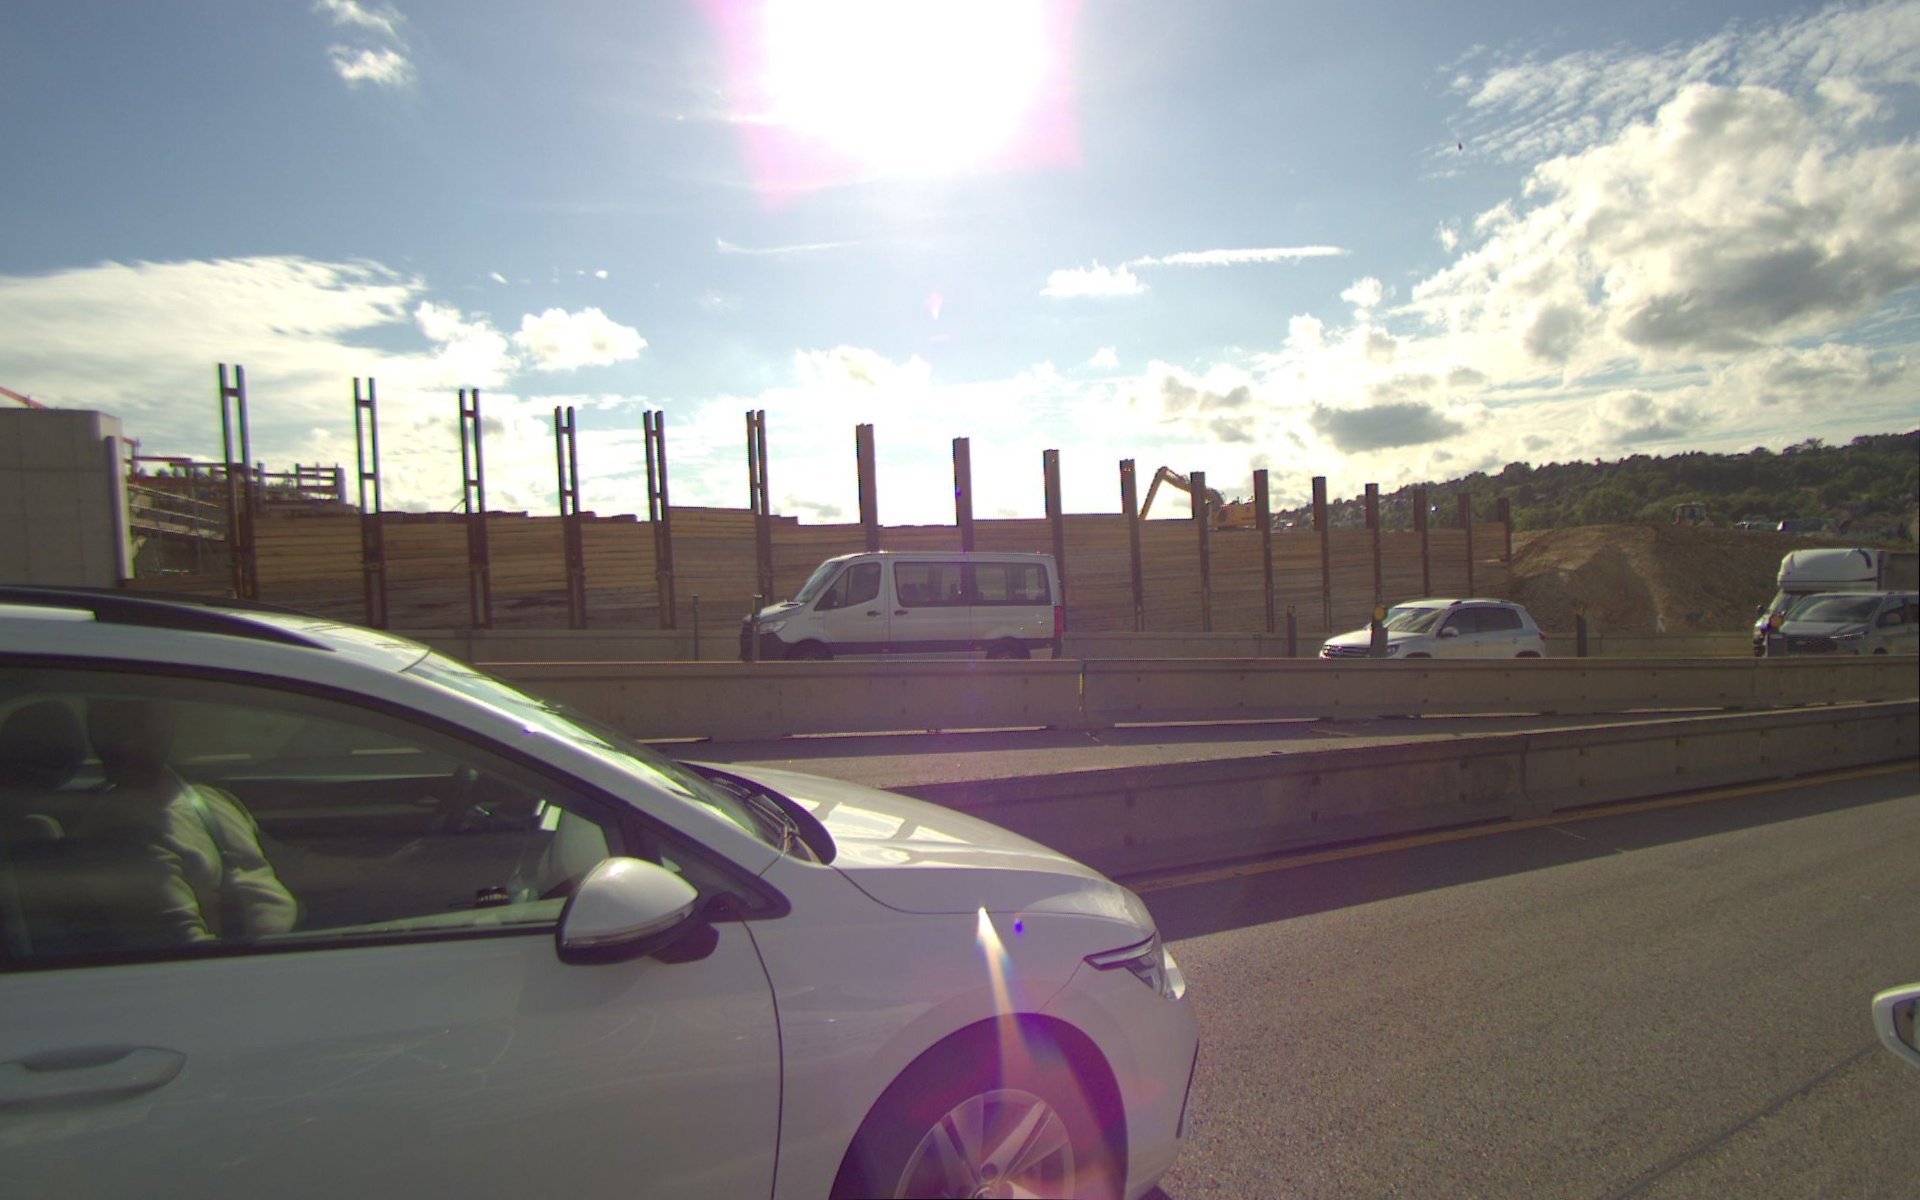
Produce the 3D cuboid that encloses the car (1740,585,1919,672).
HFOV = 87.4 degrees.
[{"bbox_3d":[20.588,0.619,23.019,4.959,1.789,2.120,1,1,-23],"label":"car"}]

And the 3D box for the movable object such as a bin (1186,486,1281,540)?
[{"bbox_3d":[20.553,-6.470,75.795,4.441,3.314,5.740,2,0,-19],"label":"movable object such as a bin"}]

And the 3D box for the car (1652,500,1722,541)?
[{"bbox_3d":[50.424,-5.488,69.646,5.262,2.168,1.984,2,-5,-32],"label":"car"}]

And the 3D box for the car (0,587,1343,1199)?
[{"bbox_3d":[-1.484,0.759,2.013,4.462,1.510,1.762,2,-2,-29],"label":"car"}]

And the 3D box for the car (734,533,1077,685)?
[{"bbox_3d":[-0.990,0.218,18.222,5.780,2.434,2.254,2,0,-21],"label":"car"}]

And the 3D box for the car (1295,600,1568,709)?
[{"bbox_3d":[8.364,0.895,17.855,4.212,1.696,2.120,1,1,-23],"label":"car"}]

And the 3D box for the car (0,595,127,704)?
[{"bbox_3d":[-13.251,0.567,12.559,3.945,1.289,1.915,2,0,-24],"label":"car"}]

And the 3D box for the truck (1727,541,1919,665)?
[{"bbox_3d":[26.700,0.166,30.052,7.433,3.355,2.693,2,0,-24],"label":"truck"}]
